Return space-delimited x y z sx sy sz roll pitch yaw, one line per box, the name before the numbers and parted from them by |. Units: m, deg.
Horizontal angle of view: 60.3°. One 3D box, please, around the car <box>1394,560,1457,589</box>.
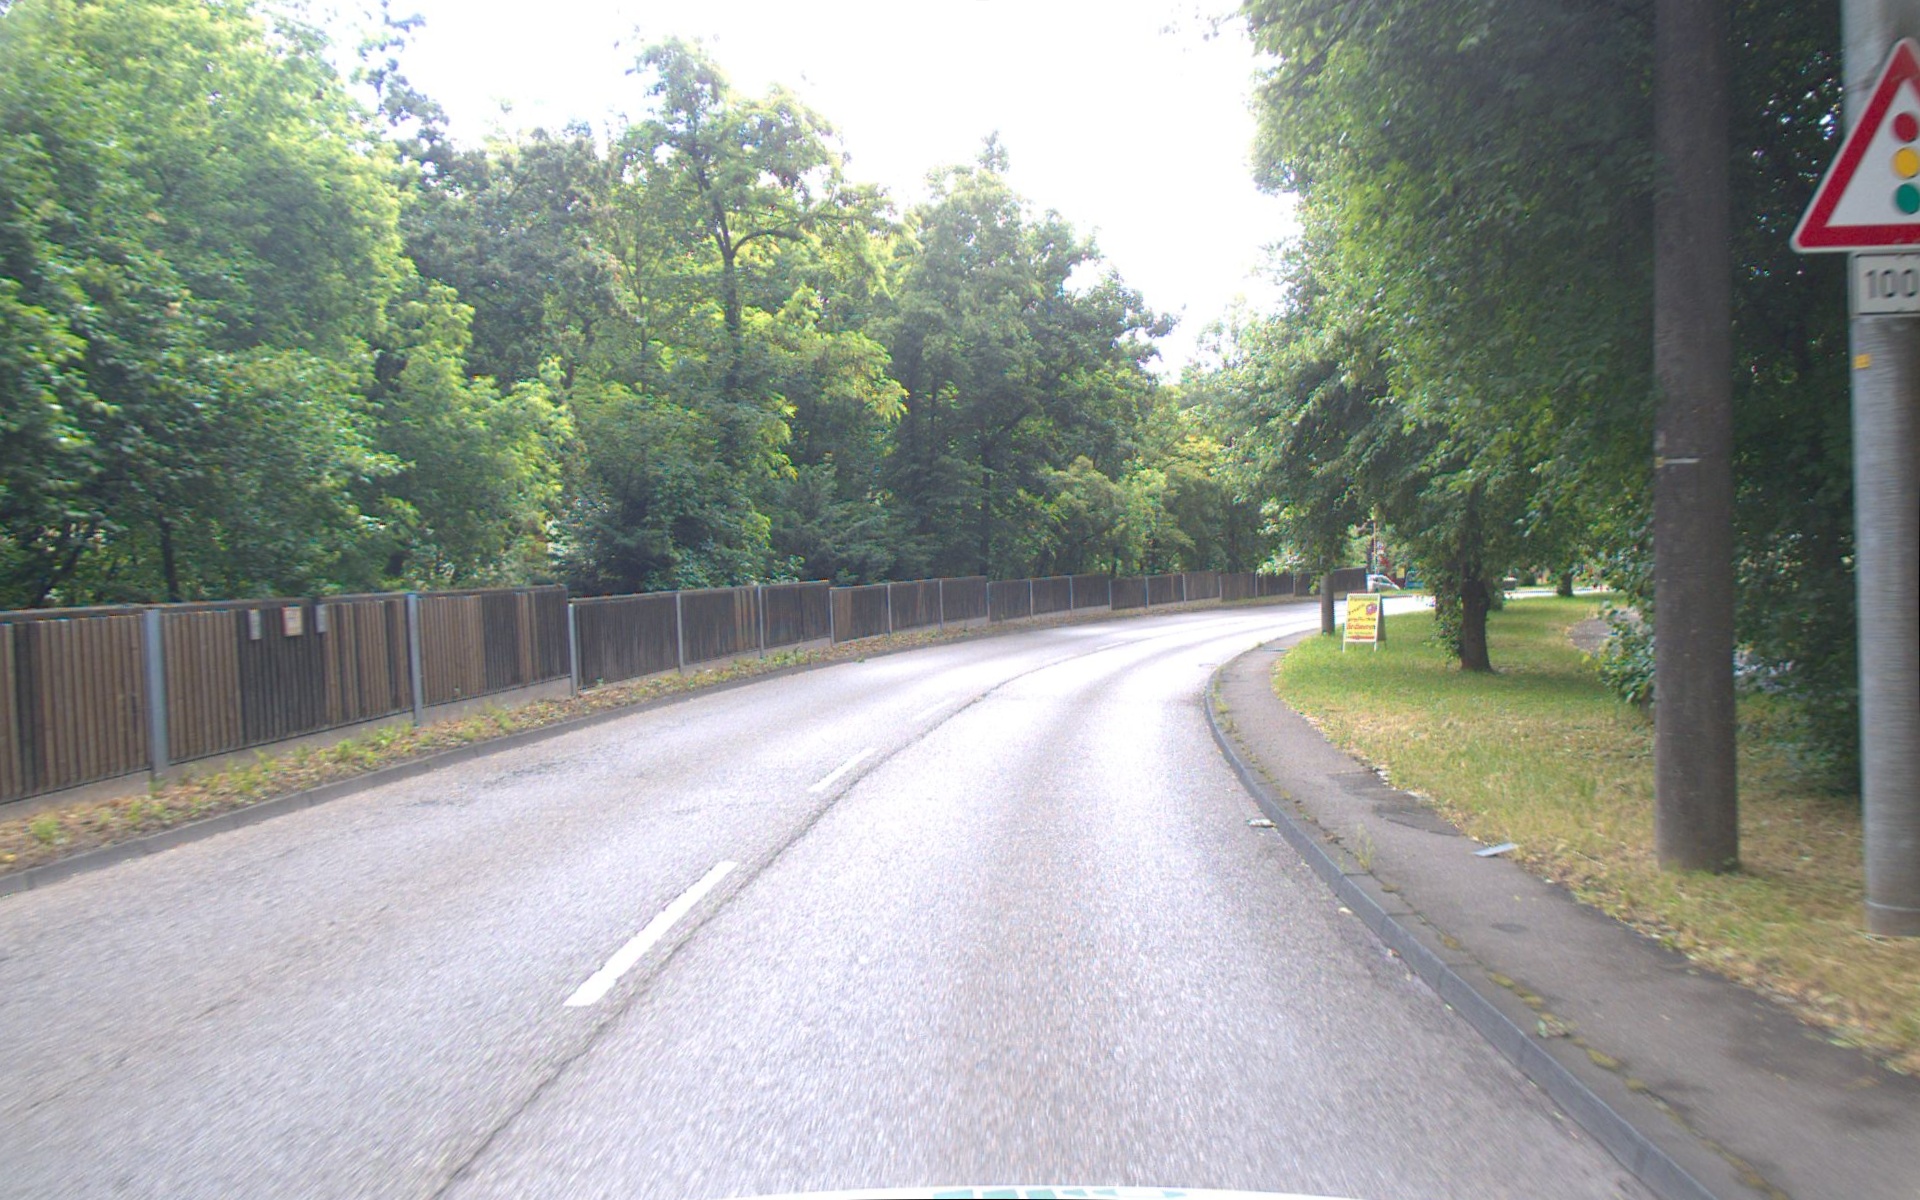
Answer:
car | 30.025 -1.624 106.617 1.966 1.646 4.417 -4 -1 44
